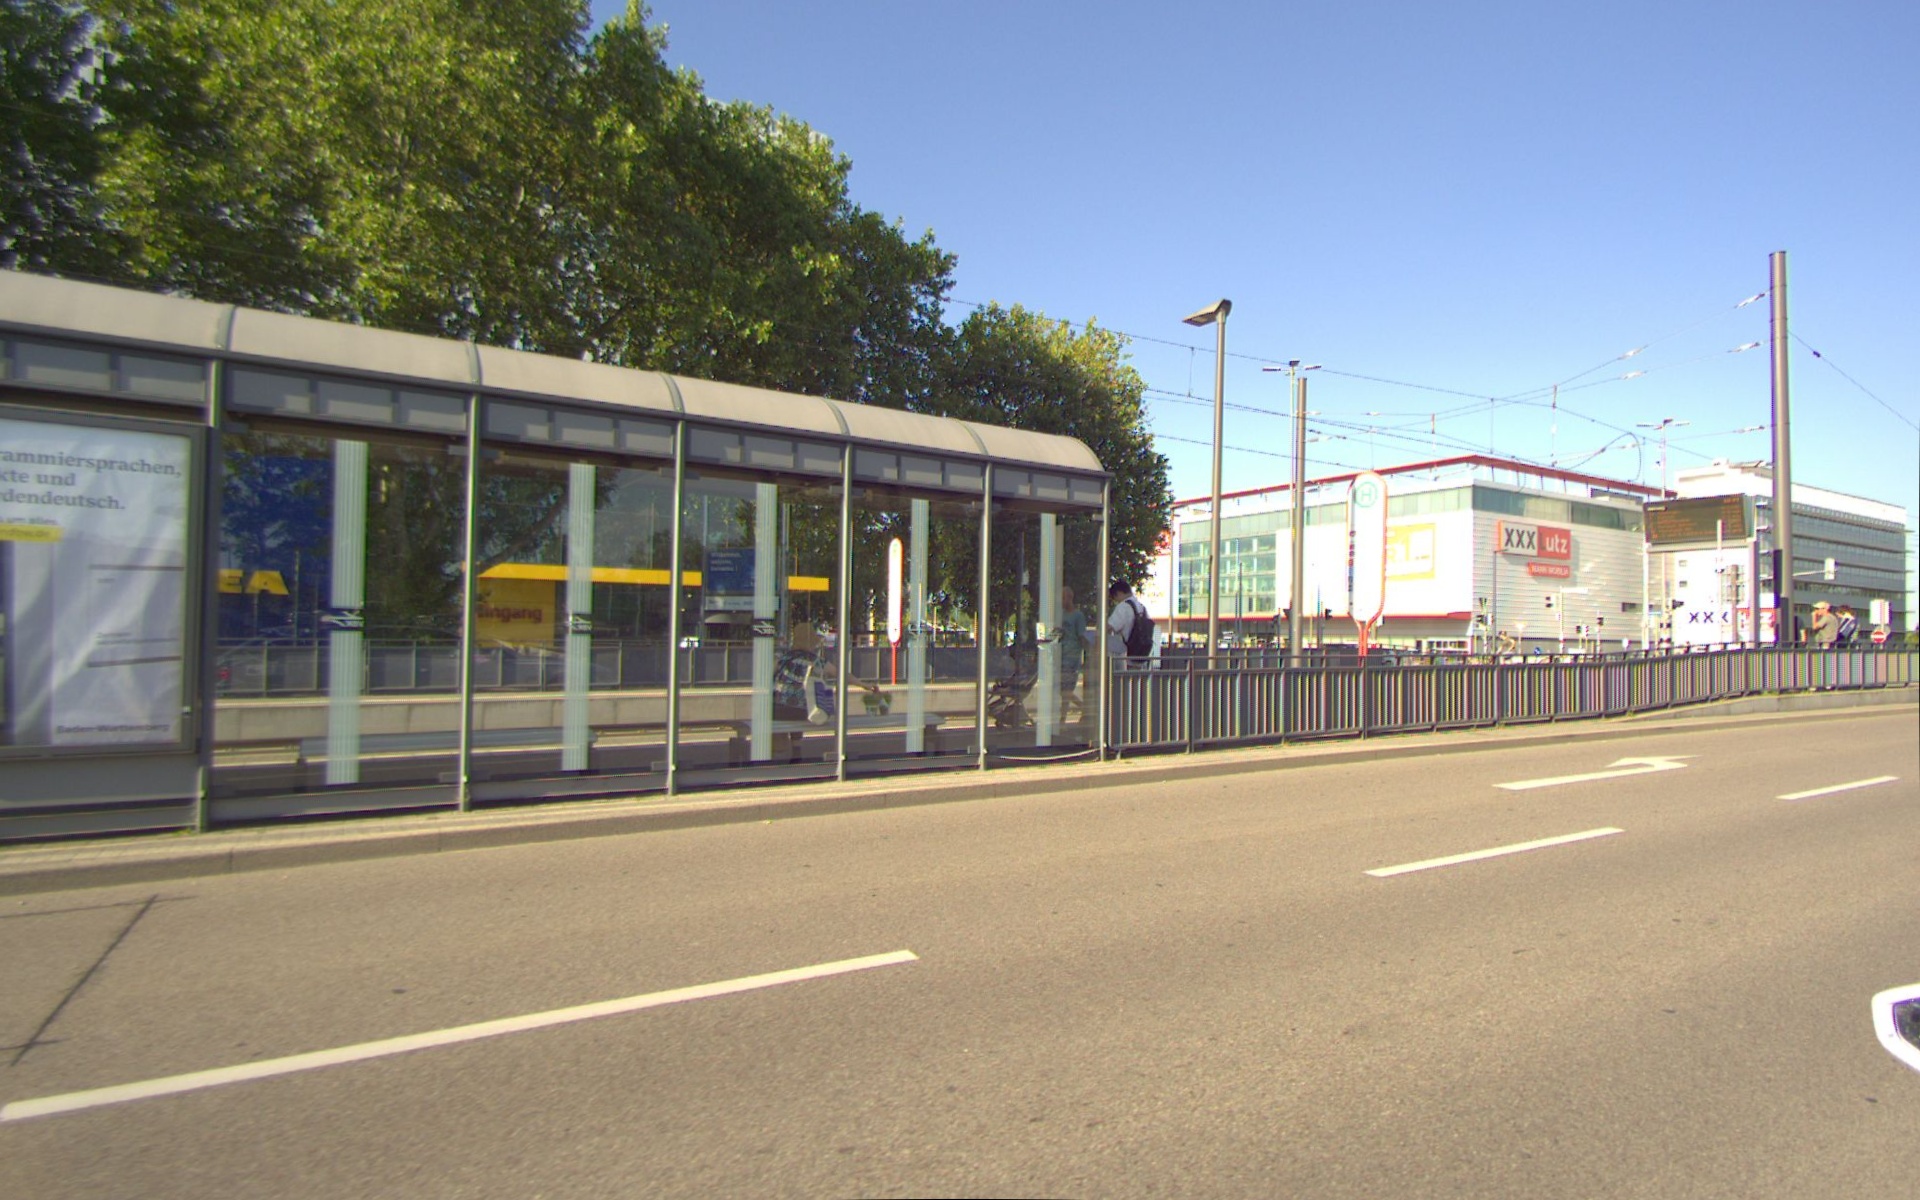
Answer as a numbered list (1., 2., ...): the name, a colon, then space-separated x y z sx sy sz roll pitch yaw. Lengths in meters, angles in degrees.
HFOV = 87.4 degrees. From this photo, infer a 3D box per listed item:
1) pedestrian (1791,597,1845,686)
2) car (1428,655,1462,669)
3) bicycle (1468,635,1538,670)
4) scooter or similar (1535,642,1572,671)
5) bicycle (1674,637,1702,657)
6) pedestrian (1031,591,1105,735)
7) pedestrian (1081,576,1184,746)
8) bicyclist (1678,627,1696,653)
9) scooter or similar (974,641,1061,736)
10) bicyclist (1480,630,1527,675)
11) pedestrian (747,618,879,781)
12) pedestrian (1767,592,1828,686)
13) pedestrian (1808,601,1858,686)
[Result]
1. pedestrian: 17.095 0.825 20.014 0.751 1.715 0.531 2 1 -30
2. car: 63.147 8.060 130.774 4.402 1.725 1.909 1 1 -34
3. bicycle: 20.172 1.951 37.362 2.235 1.234 0.714 0 -3 23
4. scooter or similar: 21.662 2.064 36.690 1.046 1.028 0.789 0 -3 23
5. bicycle: 44.972 2.905 62.010 1.967 1.183 0.585 1 0 -28
6. pedestrian: 1.267 0.711 11.722 0.637 1.617 0.551 2 0 -44
7. pedestrian: 1.852 0.635 10.793 0.814 1.738 0.688 2 0 -37
8. bicyclist: 44.819 2.451 61.925 0.742 1.543 0.585 1 0 -28
9. scooter or similar: 0.648 0.975 11.335 0.811 1.000 0.564 2 0 -44
10. bicyclist: 20.200 1.953 37.341 1.458 1.638 0.822 0 -3 23
11. pedestrian: -1.224 0.789 8.344 0.869 1.248 0.676 1 1 -32
12. pedestrian: 16.441 0.757 19.726 0.529 1.799 0.704 2 1 -27
13. pedestrian: 17.861 0.883 20.546 0.742 1.679 0.531 2 0 -30
